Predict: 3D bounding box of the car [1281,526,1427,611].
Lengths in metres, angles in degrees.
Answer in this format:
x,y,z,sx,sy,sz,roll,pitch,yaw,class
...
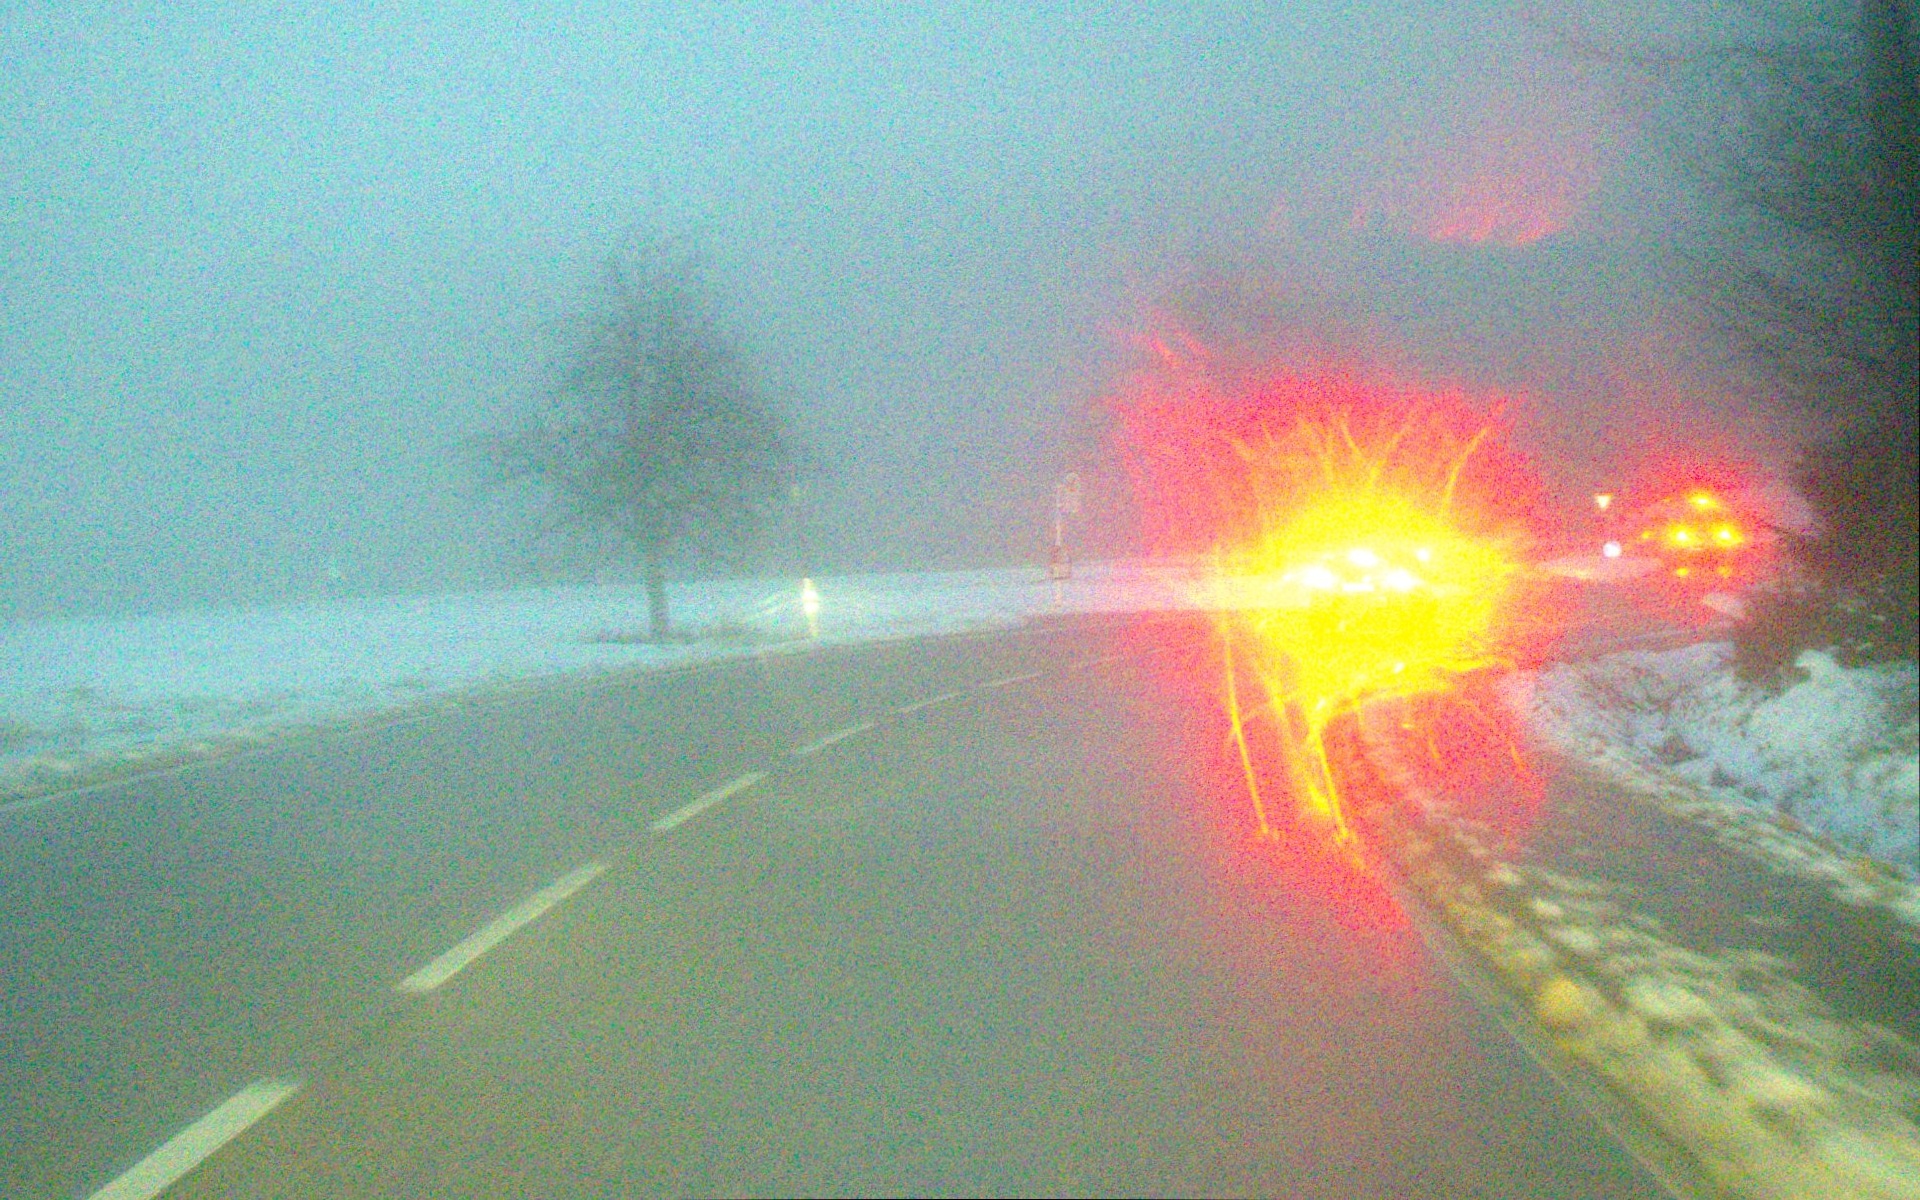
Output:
x,y,z,sx,sy,sz,roll,pitch,yaw,class
6.594,-0.543,57.177,1.923,1.272,3.998,0,3,14,car
